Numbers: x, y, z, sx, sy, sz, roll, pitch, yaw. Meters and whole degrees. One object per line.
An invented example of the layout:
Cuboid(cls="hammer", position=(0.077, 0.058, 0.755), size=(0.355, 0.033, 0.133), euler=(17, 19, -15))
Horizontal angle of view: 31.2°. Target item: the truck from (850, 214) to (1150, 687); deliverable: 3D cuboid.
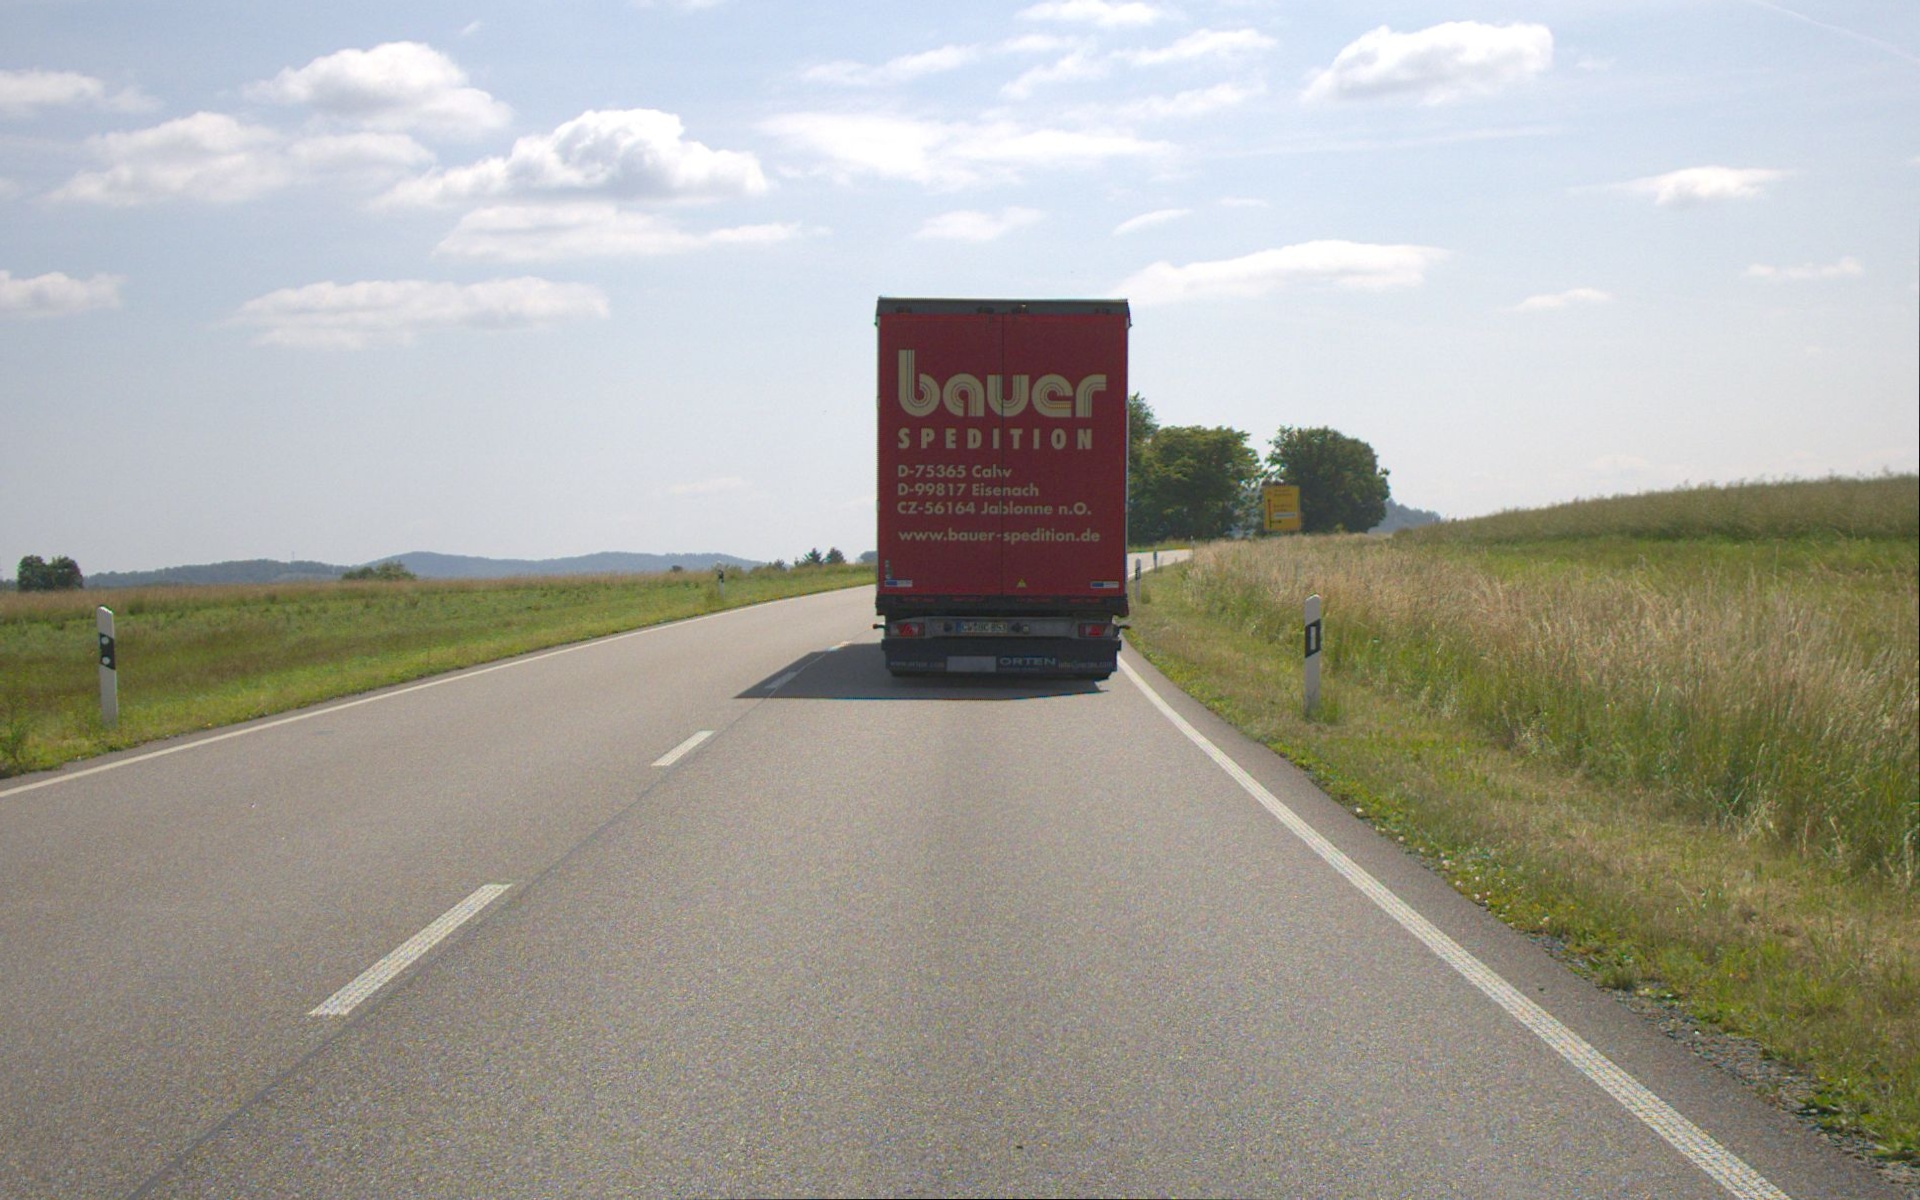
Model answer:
Cuboid(cls="truck", position=(0.542, -1.597, 38.890), size=(2.975, 4.697, 9.366), euler=(0, 1, 2))
